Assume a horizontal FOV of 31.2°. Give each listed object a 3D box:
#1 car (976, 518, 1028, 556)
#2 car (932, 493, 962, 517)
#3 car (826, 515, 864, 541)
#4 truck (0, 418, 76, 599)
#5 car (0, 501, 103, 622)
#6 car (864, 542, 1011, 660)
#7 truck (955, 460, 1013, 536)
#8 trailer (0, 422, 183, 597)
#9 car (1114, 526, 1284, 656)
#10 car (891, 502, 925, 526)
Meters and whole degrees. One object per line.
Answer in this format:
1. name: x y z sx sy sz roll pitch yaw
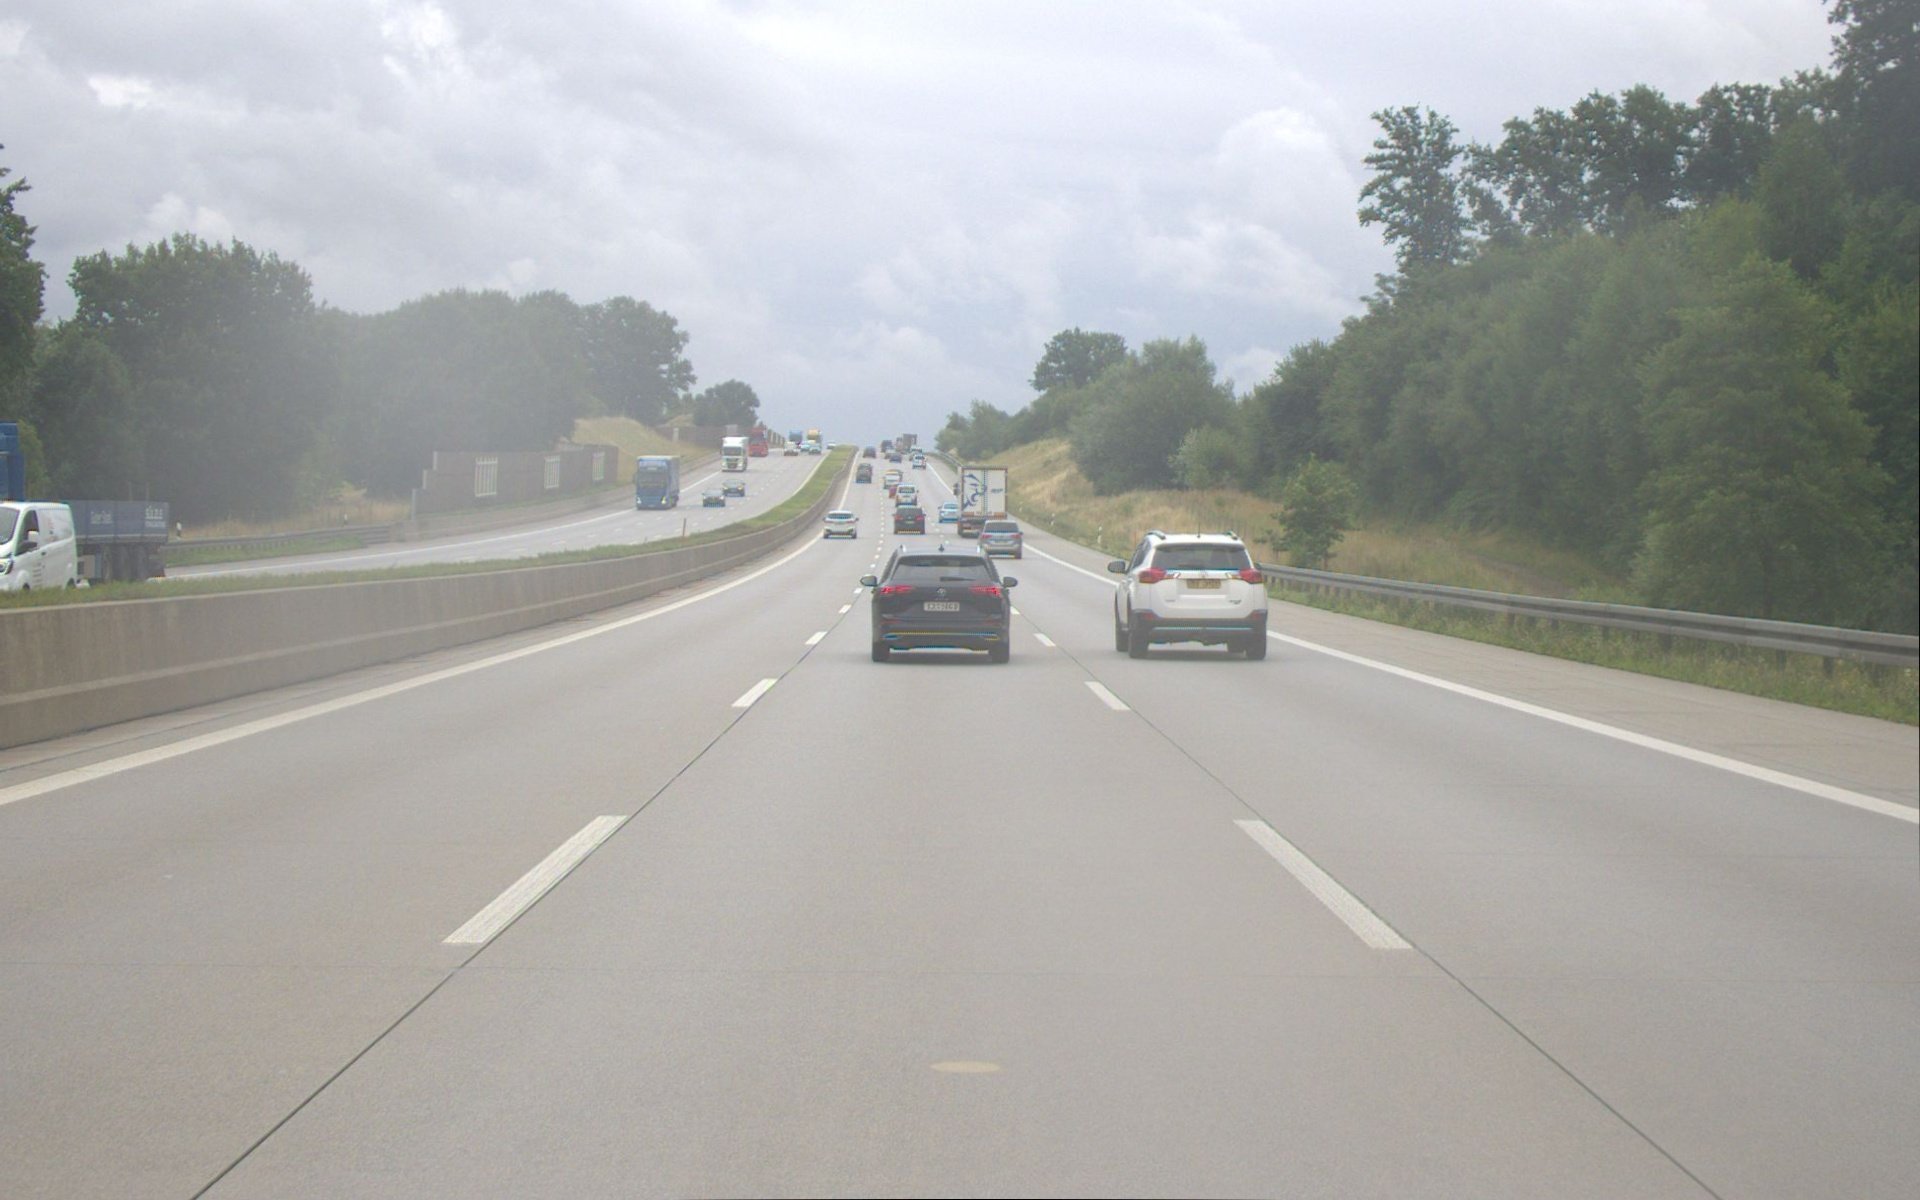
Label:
1. car: 1.748 -2.633 144.295 1.993 1.525 4.000 1 1 -2
2. car: -0.925 -6.699 242.913 1.993 1.634 4.000 1 2 1
3. car: -6.405 -3.998 191.226 1.947 1.351 4.259 0 -1 0
4. truck: -19.991 -1.832 69.081 2.756 3.504 6.641 1 1 -1
5. car: -15.099 -0.632 53.726 2.088 1.795 5.498 1 1 -1
6. car: -0.260 0.007 44.014 1.752 1.393 4.484 1 0 0
7. truck: 1.319 -5.876 196.897 3.017 4.166 8.355 1 2 -1
8. trailer: -20.100 -1.943 76.049 2.785 3.495 13.886 1 1 -1
9. car: 3.158 -0.145 46.137 1.825 1.650 3.985 1 1 -2
10. car: -3.120 -5.166 205.995 1.935 1.370 4.595 1 1 0
